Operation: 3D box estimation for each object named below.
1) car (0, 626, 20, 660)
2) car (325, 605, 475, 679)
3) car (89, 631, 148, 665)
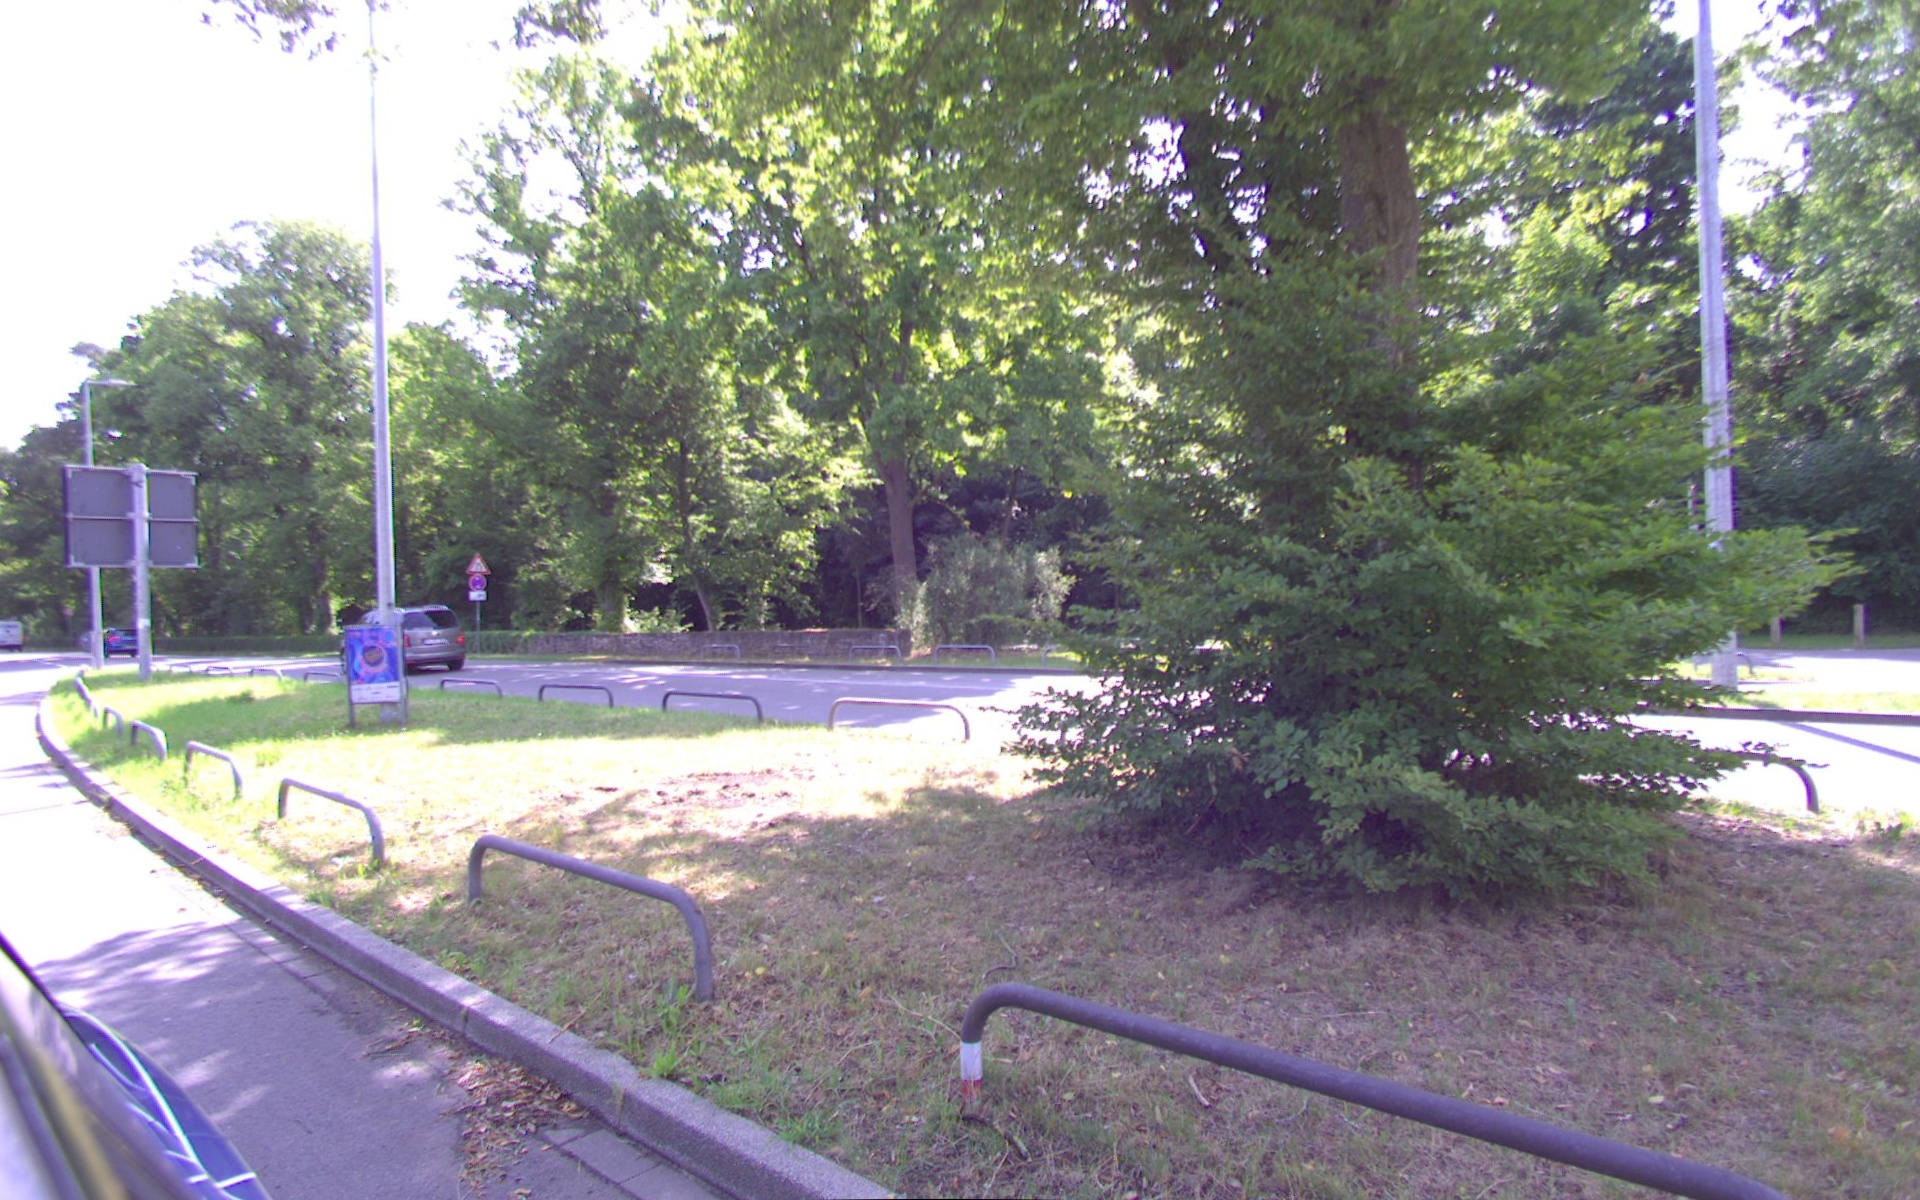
[{"bbox_3d":[-73.518,3.259,77.062,5.356,2.449,1.956,-1,1,38],"label":"car"},{"bbox_3d":[-14.341,1.072,25.820,4.293,1.642,1.745,-2,1,38],"label":"car"},{"bbox_3d":[-41.378,2.343,49.735,4.067,1.457,1.676,-1,2,43],"label":"car"}]
